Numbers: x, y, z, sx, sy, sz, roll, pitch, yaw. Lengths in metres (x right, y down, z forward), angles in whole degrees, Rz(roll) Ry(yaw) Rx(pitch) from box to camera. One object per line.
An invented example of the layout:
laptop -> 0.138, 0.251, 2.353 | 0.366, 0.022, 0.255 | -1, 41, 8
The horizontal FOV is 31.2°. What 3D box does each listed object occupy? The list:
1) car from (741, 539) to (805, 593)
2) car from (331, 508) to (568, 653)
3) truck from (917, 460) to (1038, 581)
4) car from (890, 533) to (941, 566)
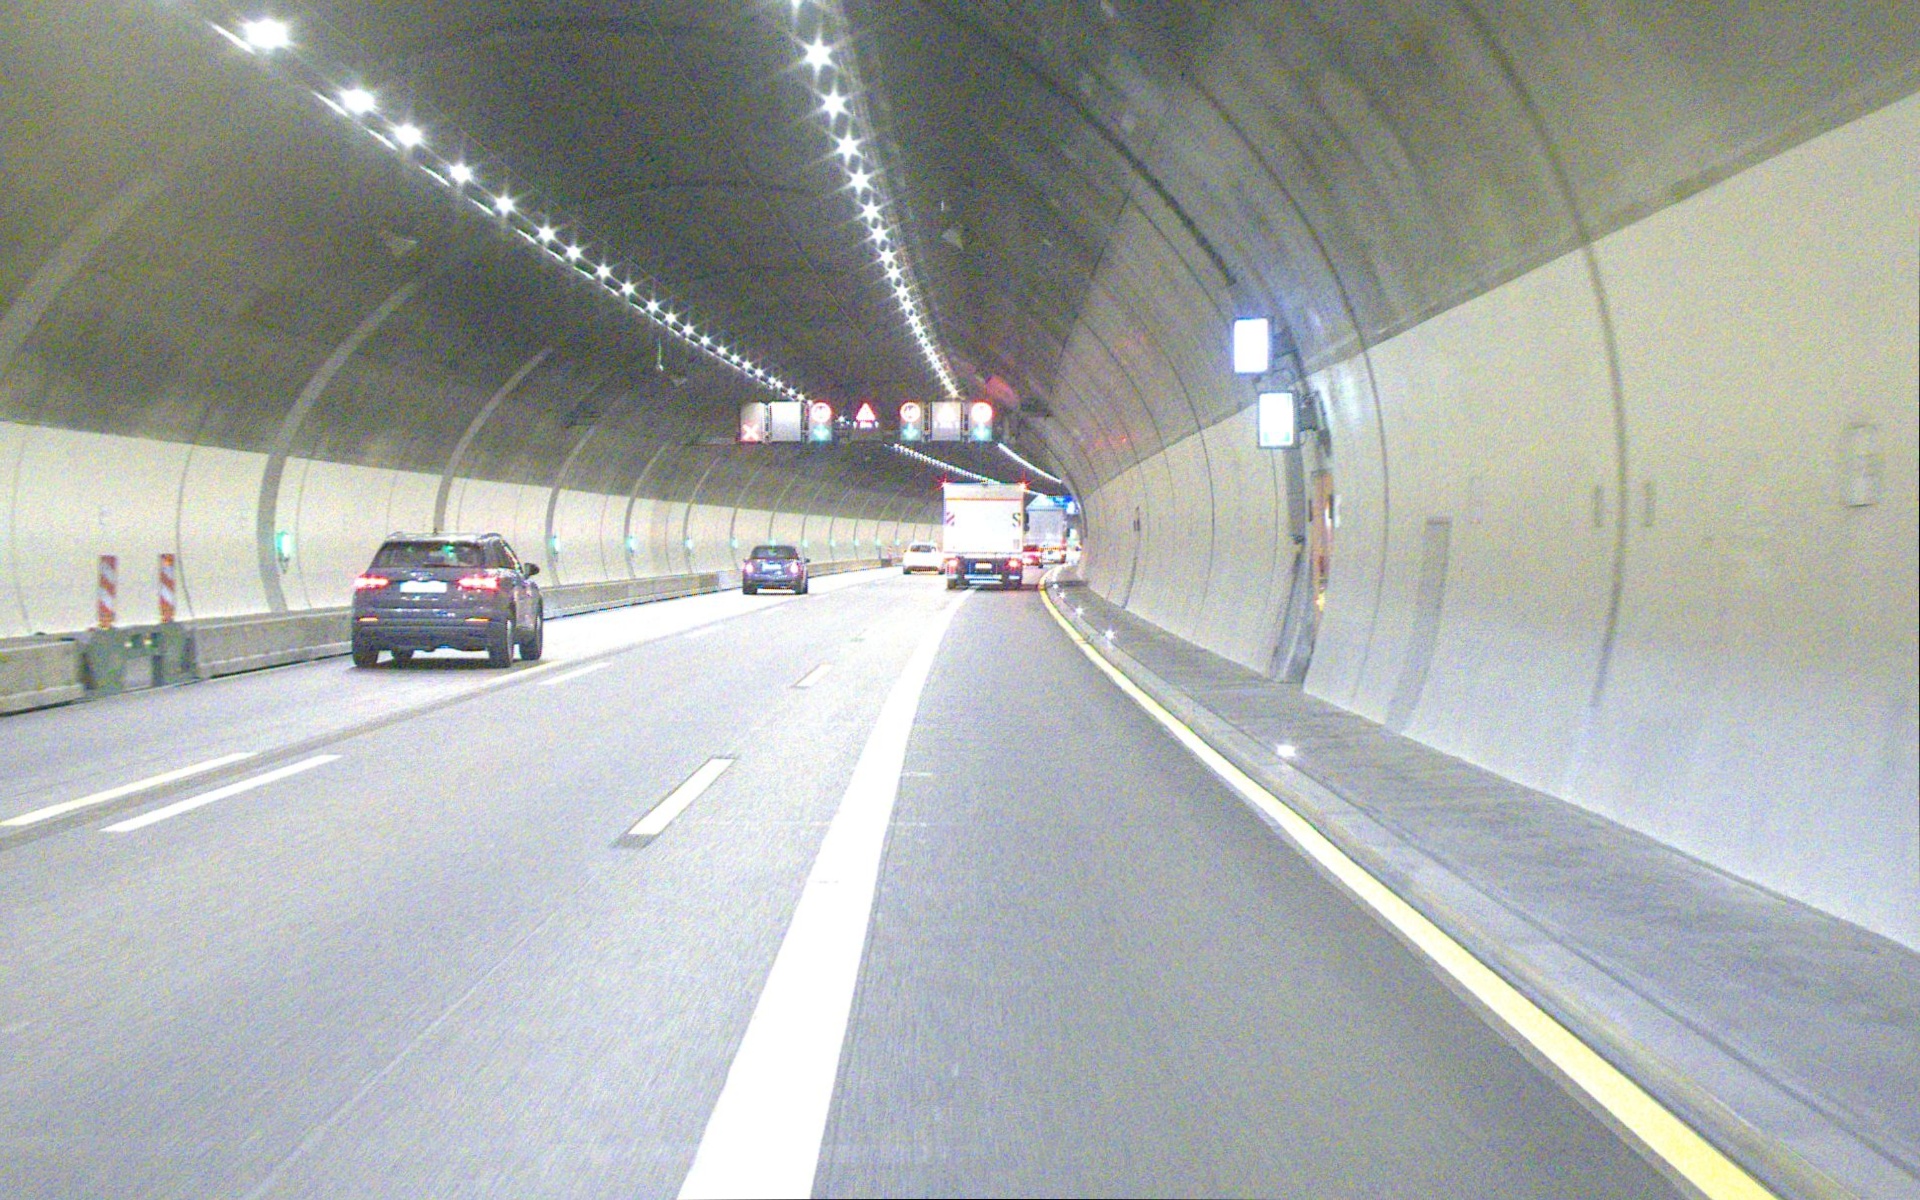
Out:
car -> -5.294, -0.967, 97.560 | 1.689, 1.412, 3.923 | 3, 1, -3
car -> -6.031, -0.230, 41.157 | 1.993, 1.535, 4.742 | 3, 0, 1
truck -> 0.486, -2.578, 113.809 | 3.592, 3.638, 10.723 | 3, 1, -1
car -> -2.007, -2.306, 157.700 | 1.994, 1.408, 4.742 | 3, 1, 2
